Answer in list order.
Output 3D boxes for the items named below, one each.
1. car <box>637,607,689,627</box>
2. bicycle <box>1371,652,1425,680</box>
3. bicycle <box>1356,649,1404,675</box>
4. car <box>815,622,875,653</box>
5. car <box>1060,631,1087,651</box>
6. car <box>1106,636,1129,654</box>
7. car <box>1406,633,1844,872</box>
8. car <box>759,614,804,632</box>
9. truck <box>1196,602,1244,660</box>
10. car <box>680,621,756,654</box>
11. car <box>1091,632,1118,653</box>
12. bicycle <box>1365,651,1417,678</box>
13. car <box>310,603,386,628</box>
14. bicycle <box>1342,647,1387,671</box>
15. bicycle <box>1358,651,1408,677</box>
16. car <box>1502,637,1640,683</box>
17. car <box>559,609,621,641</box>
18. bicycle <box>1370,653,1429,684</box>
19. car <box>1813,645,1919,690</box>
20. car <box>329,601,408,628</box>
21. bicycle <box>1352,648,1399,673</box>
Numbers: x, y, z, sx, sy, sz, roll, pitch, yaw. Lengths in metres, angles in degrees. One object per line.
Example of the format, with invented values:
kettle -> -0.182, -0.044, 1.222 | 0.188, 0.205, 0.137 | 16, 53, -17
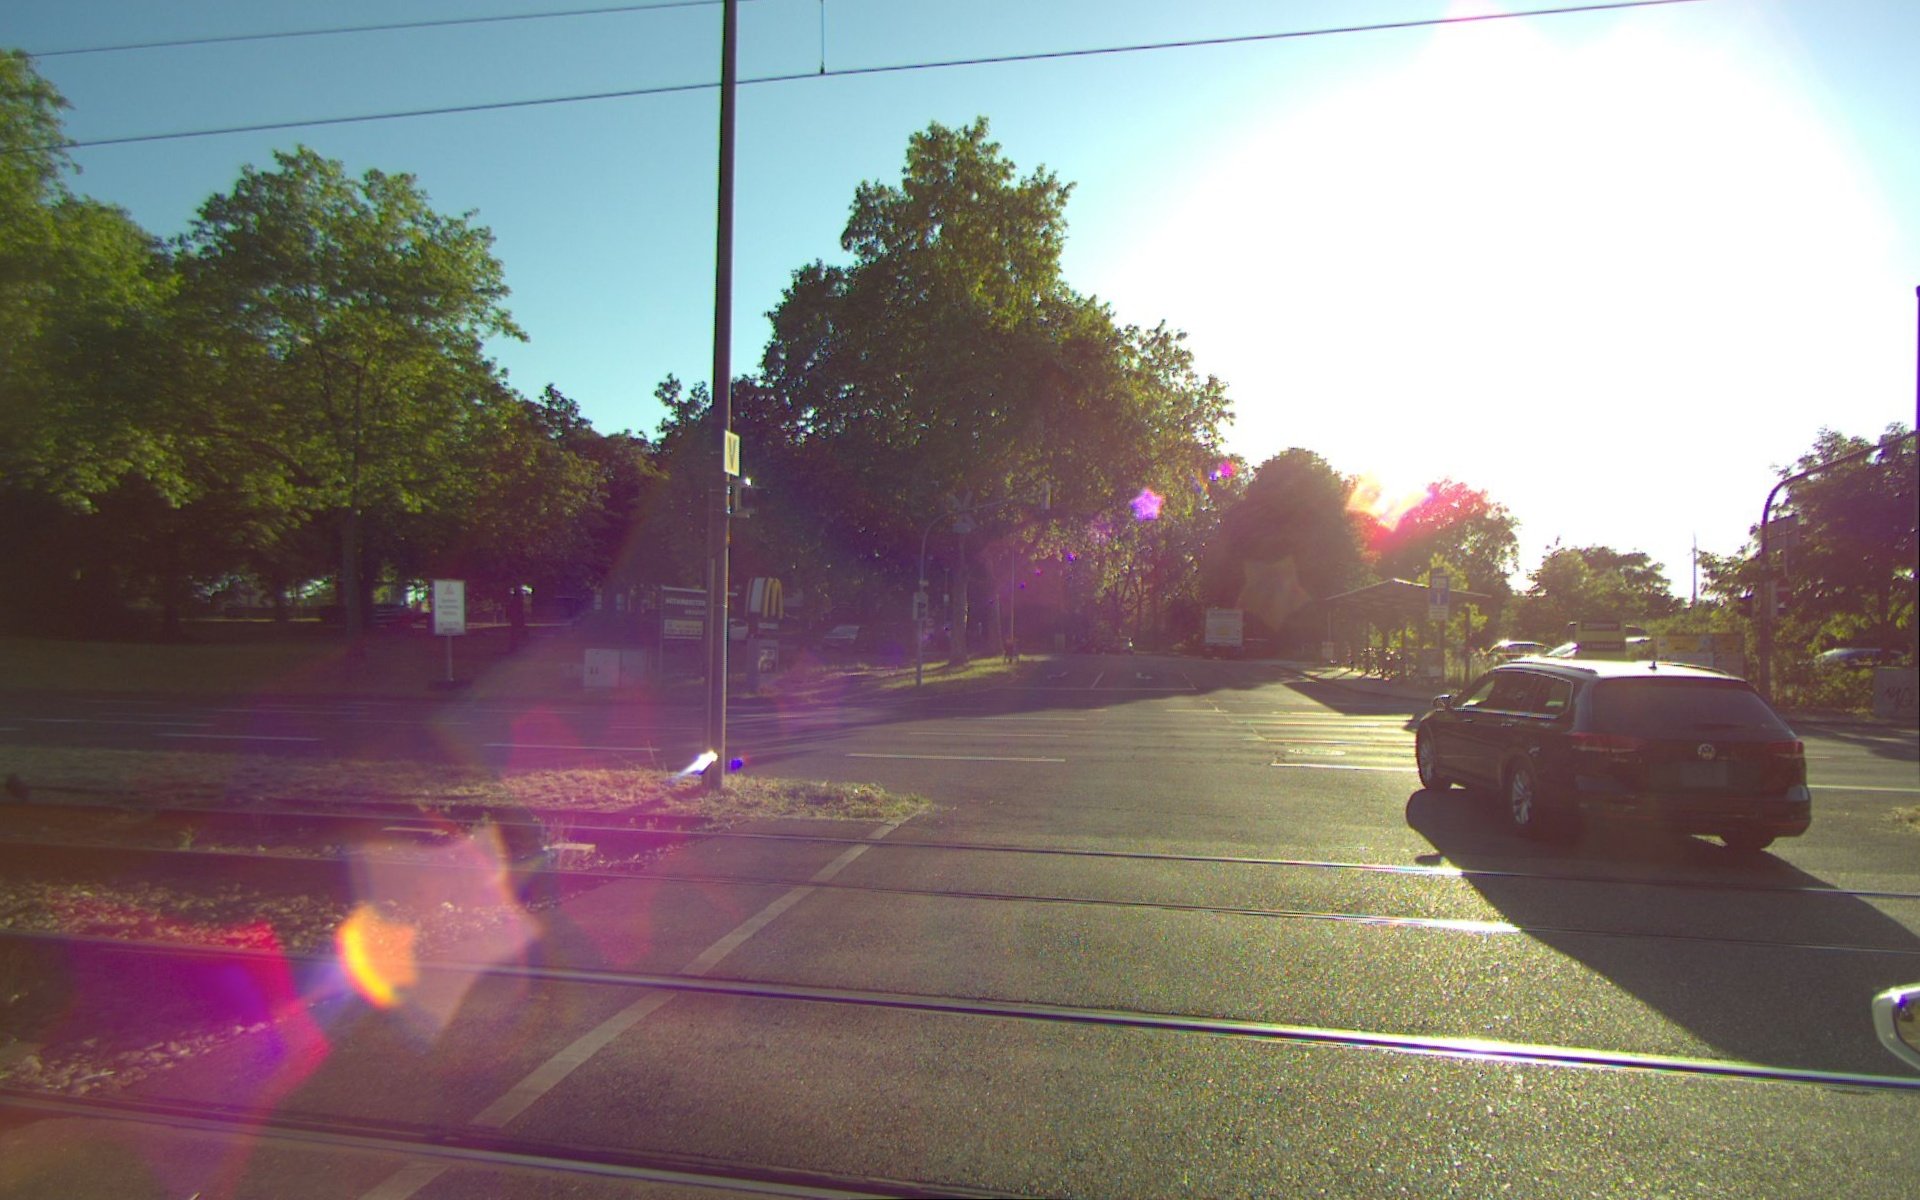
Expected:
car -> -24.758, 1.442, 83.836 | 3.925, 1.572, 1.806 | 1, -1, -7
bicycle -> 16.915, 2.543, 38.843 | 1.855, 1.052, 0.544 | 0, -1, 12
bicycle -> 18.086, 2.652, 43.245 | 1.855, 1.052, 0.544 | 0, -1, 15
car -> -6.214, 2.042, 54.871 | 2.002, 1.595, 4.405 | 0, -2, 11
car -> 9.262, 3.309, 81.892 | 1.814, 1.572, 4.003 | 1, -1, 12
car -> 14.282, 4.041, 91.042 | 1.814, 1.572, 4.003 | 1, -1, 12
car -> 5.574, 1.123, 9.158 | 1.793, 1.576, 4.262 | 1, -1, 10
car -> -16.195, 2.113, 91.389 | 3.927, 1.572, 1.805 | 1, -1, -8
truck -> 19.152, 2.280, 74.471 | 3.130, 3.927, 11.106 | 1, -1, 13
car -> -13.495, 2.081, 56.238 | 1.960, 1.729, 4.902 | 1, -1, 16
car -> 11.424, 3.351, 79.419 | 1.814, 1.572, 4.003 | 1, -1, 12
bicycle -> 17.575, 2.627, 40.979 | 1.855, 1.052, 0.544 | 0, -1, 12
car -> -40.413, 1.036, 66.430 | 1.774, 1.572, 3.997 | 0, -2, 25
bicycle -> 18.573, 2.682, 46.124 | 1.855, 1.052, 0.544 | 0, -1, 15
bicycle -> 17.604, 2.651, 41.857 | 1.855, 1.052, 0.544 | 0, -1, 12
car -> 24.472, 2.379, 40.386 | 4.232, 1.670, 2.122 | 1, -1, 9
car -> -21.206, 1.448, 57.762 | 1.791, 1.710, 4.227 | 1, -2, 3
bicycle -> 15.719, 2.445, 35.976 | 1.855, 1.052, 0.544 | 0, -1, 12
car -> 37.262, 2.694, 40.431 | 3.921, 1.658, 2.120 | 0, -1, 20
car -> -35.912, 0.915, 61.131 | 1.771, 1.572, 4.002 | 0, -2, 16
bicycle -> 18.389, 2.651, 44.449 | 1.855, 1.052, 0.544 | 0, -1, 15
